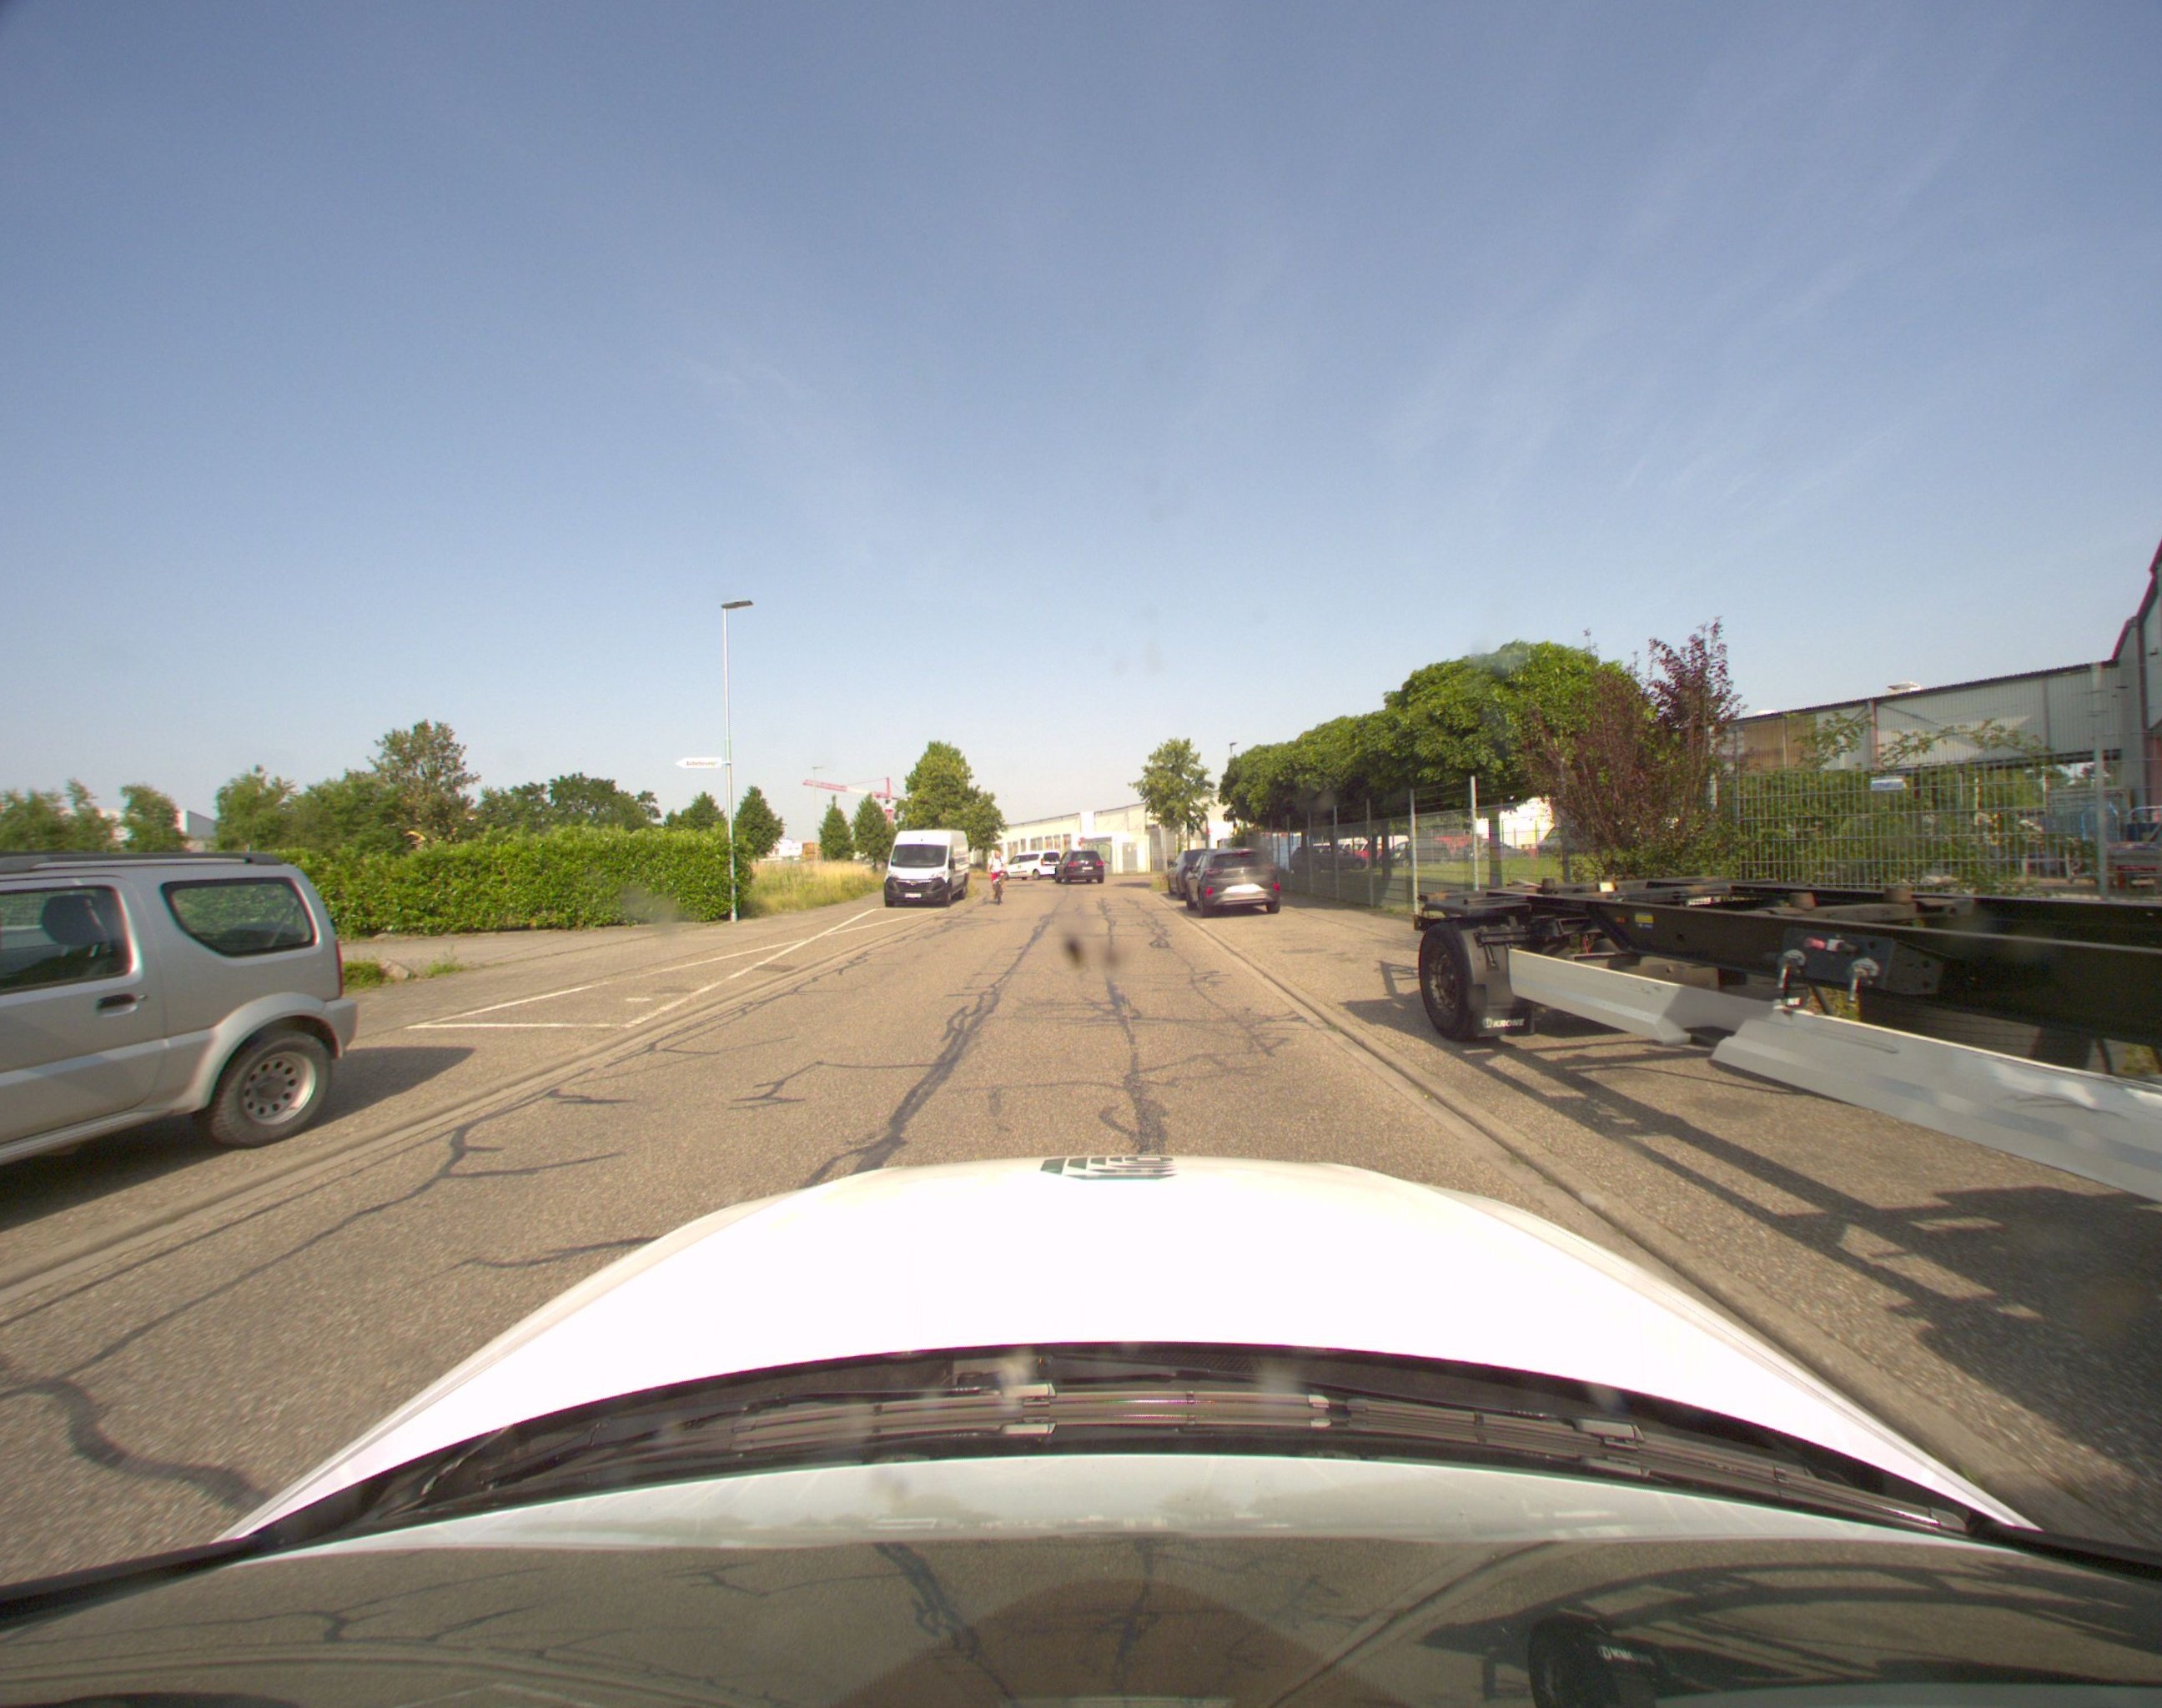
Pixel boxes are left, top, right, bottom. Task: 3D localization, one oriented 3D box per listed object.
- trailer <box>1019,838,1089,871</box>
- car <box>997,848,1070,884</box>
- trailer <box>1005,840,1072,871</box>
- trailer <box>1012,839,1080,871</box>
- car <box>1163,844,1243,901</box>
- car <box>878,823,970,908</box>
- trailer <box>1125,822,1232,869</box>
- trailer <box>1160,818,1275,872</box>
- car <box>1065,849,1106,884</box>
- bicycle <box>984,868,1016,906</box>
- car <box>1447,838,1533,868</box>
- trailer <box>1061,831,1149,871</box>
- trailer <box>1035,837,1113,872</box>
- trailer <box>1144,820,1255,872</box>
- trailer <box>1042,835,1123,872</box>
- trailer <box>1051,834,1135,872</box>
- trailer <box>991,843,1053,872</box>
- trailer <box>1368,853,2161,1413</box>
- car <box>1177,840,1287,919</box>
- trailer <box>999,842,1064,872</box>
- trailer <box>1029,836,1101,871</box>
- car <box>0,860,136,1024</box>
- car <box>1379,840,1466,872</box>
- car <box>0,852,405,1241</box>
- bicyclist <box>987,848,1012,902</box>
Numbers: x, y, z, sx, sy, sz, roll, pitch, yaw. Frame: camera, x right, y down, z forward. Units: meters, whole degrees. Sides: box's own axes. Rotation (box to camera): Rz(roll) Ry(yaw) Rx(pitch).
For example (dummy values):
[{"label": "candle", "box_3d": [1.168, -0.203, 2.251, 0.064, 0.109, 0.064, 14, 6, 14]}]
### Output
[{"label": "trailer", "box_3d": [-3.255, 0.085, 97.958, 7.996, 3.894, 2.754, 0, -1, -23]}, {"label": "car", "box_3d": [-3.134, 0.791, 52.585, 4.566, 2.110, 2.141, -3, -1, 45]}, {"label": "trailer", "box_3d": [-5.411, 0.219, 103.735, 7.996, 3.894, 2.754, 0, -1, -23]}, {"label": "trailer", "box_3d": [-4.358, 0.162, 100.704, 7.996, 3.894, 2.754, 0, -1, -23]}, {"label": "car", "box_3d": [3.857, 0.563, 26.608, 1.874, 1.574, 5.119, -4, -1, 1]}, {"label": "car", "box_3d": [-5.231, 0.360, 28.101, 2.096, 2.595, 6.499, 0, 0, -2]}, {"label": "trailer", "box_3d": [8.344, -0.721, 69.381, 8.768, 3.761, 2.769, -1, -1, -23]}, {"label": "trailer", "box_3d": [10.719, -0.726, 63.797, 8.566, 3.894, 2.756, -2, -3, -21]}, {"label": "car", "box_3d": [0.248, 0.627, 40.831, 1.874, 1.586, 4.114, -2, -1, 1]}, {"label": "bicycle", "box_3d": [-2.656, 1.058, 27.048, 0.713, 1.122, 2.220, -5, 0, 1]}, {"label": "car", "box_3d": [23.377, -0.070, 46.546, 4.491, 1.518, 1.716, -2, -3, -19]}, {"label": "trailer", "box_3d": [2.454, -0.261, 82.948, 8.572, 3.894, 2.754, 0, -1, -23]}, {"label": "trailer", "box_3d": [-0.765, 0.083, 91.531, 8.343, 3.894, 2.754, 0, -1, -23]}, {"label": "trailer", "box_3d": [9.710, -0.671, 66.586, 8.569, 3.893, 2.756, -3, 0, -22]}, {"label": "trailer", "box_3d": [0.188, -0.056, 88.632, 8.343, 3.894, 2.754, 0, -1, -23]}, {"label": "trailer", "box_3d": [1.273, -0.111, 85.778, 8.572, 3.894, 2.754, 0, -1, -23]}, {"label": "trailer", "box_3d": [-7.959, 0.488, 110.054, 7.996, 3.894, 2.754, 0, -1, -23]}, {"label": "trailer", "box_3d": [3.606, 0.683, 3.857, 1.932, 1.235, 7.452, -4, 0, 1]}, {"label": "car", "box_3d": [3.499, 0.572, 19.569, 1.874, 1.574, 4.114, -3, -1, 1]}, {"label": "trailer", "box_3d": [-6.447, 0.408, 106.512, 7.996, 3.894, 2.754, 0, -1, -23]}, {"label": "trailer", "box_3d": [-1.855, -0.030, 95.338, 8.067, 3.894, 2.754, 0, -1, -23]}, {"label": "car", "box_3d": [-11.154, 0.863, 7.180, 1.837, 1.572, 3.796, -2, 0, -16]}, {"label": "car", "box_3d": [18.513, 0.081, 44.174, 4.270, 1.625, 1.865, -2, 1, -21]}, {"label": "car", "box_3d": [-5.440, 0.830, 3.714, 1.591, 1.651, 3.645, 1, 0, 1]}, {"label": "bicyclist", "box_3d": [-2.690, 0.682, 27.023, 0.637, 1.719, 1.166, -2, 0, 1]}]
